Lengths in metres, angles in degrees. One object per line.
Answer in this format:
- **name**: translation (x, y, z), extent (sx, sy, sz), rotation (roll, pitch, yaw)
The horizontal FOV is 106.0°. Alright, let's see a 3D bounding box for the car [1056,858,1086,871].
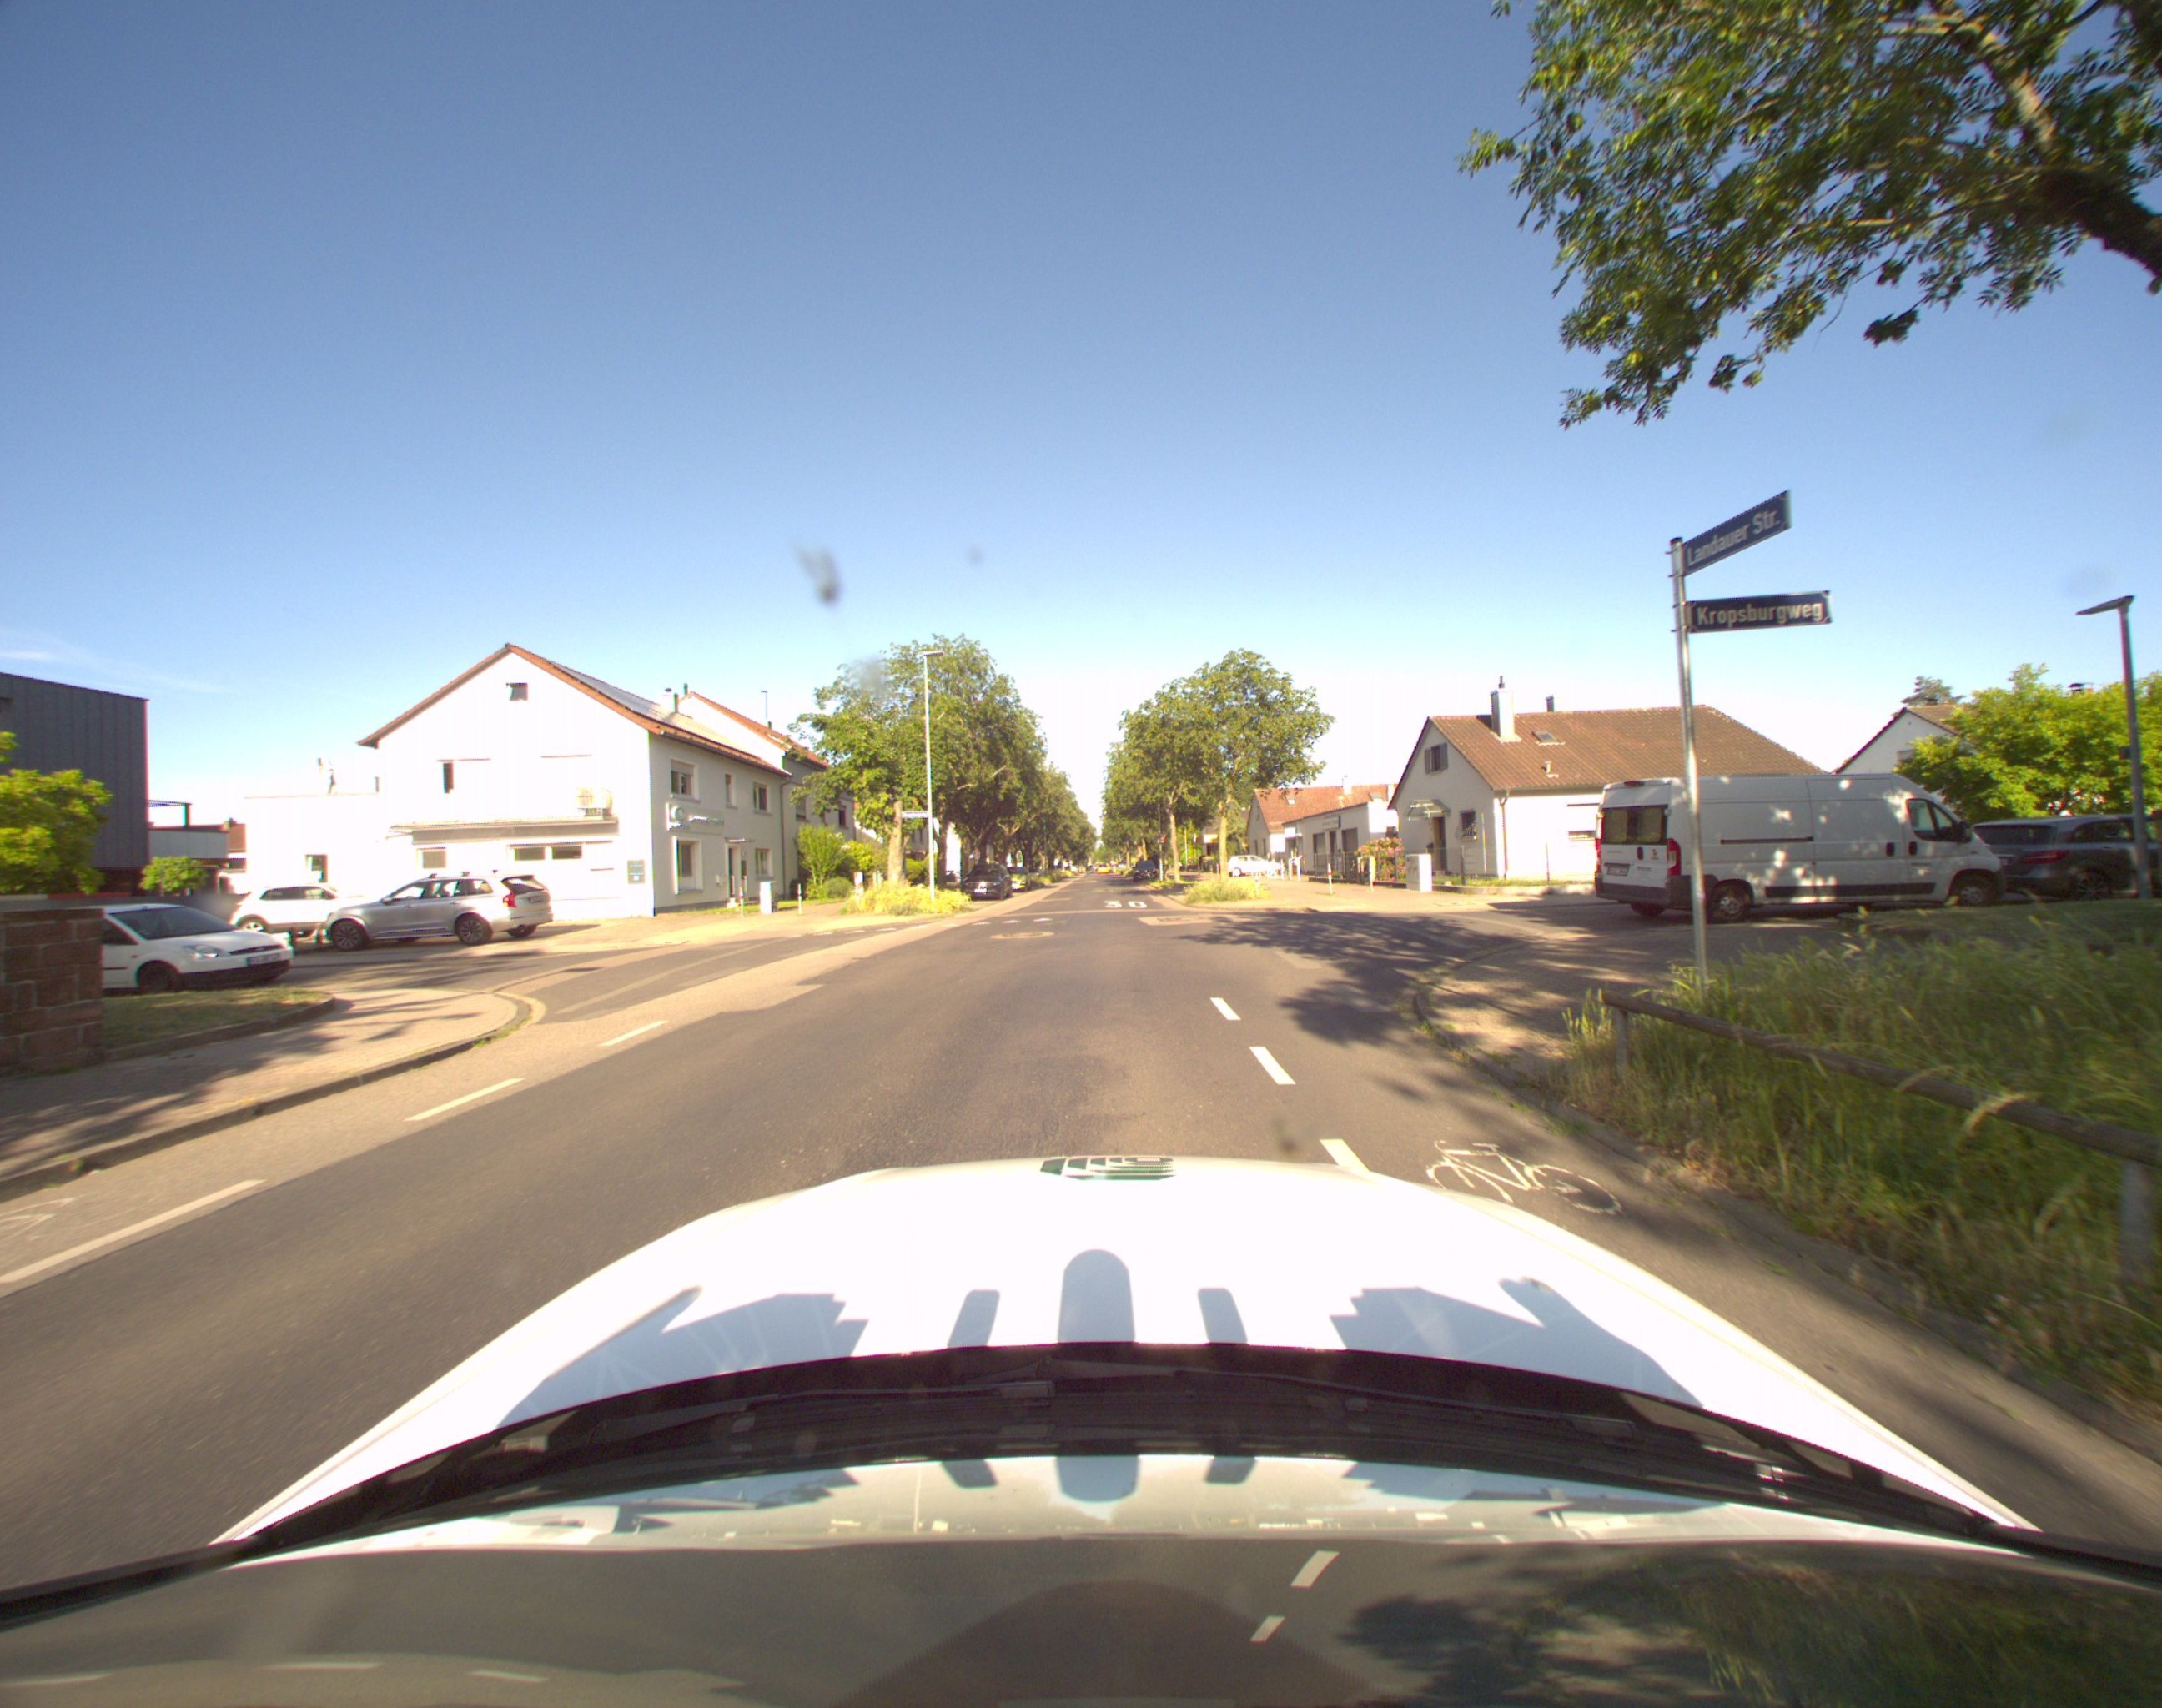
- **car**: translation (-1.765, 1.905, 147.773), extent (5.481, 2.247, 2.516), rotation (-1, 1, -1)

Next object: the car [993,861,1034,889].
- **car**: translation (-4.081, 1.261, 49.737), extent (1.931, 1.609, 4.386), rotation (-1, -2, 2)

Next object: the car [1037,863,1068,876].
- **car**: translation (-4.222, 2.201, 119.783), extent (4.536, 1.765, 1.998), rotation (-1, 1, -4)

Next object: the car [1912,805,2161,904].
- **car**: translation (18.184, -0.030, 14.434), extent (4.728, 1.581, 2.284), rotation (-1, 1, -2)

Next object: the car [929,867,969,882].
- **car**: translation (-16.058, 2.512, 98.939), extent (4.543, 1.618, 1.998), rotation (-1, 1, -3)

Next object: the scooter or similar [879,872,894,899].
- **scooter or similar**: translation (-7.676, 1.239, 32.096), extent (0.334, 1.001, 0.997), rotation (-3, -1, -2)

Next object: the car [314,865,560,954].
- **car**: translation (-16.251, 1.364, 20.762), extent (4.477, 1.837, 1.999), rotation (-3, 2, -2)

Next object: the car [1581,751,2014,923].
- **car**: translation (12.266, -0.282, 14.262), extent (5.579, 2.539, 2.265), rotation (-3, 0, -1)

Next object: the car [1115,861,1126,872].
- **car**: translation (6.728, 2.085, 138.521), extent (1.895, 1.774, 4.302), rotation (-1, -1, 2)

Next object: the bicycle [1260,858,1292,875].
- **bicycle**: translation (12.932, 0.815, 54.010), extent (1.952, 0.998, 0.576), rotation (-4, 0, -1)

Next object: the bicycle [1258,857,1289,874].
- **bicycle**: translation (13.001, 0.783, 54.998), extent (1.917, 0.998, 0.576), rotation (-4, 0, -1)

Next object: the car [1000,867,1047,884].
- **car**: translation (-5.743, 2.147, 82.092), extent (4.538, 1.511, 1.841), rotation (-1, 1, 1)

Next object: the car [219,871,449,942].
- **car**: translation (-21.456, 1.467, 23.578), extent (4.494, 1.555, 1.997), rotation (-4, 1, -5)

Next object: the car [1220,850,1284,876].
- **car**: translation (11.940, 0.608, 57.069), extent (3.974, 1.488, 1.902), rotation (-4, 1, 0)

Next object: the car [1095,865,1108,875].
- **car**: translation (3.211, 2.488, 128.043), extent (1.883, 1.479, 3.884), rotation (0, -1, -2)

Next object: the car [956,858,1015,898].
- **car**: translation (-4.340, 1.116, 37.810), extent (1.946, 1.727, 4.877), rotation (-1, -2, 2)

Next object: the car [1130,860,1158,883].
- **car**: translation (5.030, 1.422, 65.394), extent (1.846, 1.626, 4.470), rotation (-4, -2, 1)

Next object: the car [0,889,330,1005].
- **car**: translation (-15.079, 1.457, 13.294), extent (3.755, 1.479, 1.870), rotation (-3, 1, -1)
